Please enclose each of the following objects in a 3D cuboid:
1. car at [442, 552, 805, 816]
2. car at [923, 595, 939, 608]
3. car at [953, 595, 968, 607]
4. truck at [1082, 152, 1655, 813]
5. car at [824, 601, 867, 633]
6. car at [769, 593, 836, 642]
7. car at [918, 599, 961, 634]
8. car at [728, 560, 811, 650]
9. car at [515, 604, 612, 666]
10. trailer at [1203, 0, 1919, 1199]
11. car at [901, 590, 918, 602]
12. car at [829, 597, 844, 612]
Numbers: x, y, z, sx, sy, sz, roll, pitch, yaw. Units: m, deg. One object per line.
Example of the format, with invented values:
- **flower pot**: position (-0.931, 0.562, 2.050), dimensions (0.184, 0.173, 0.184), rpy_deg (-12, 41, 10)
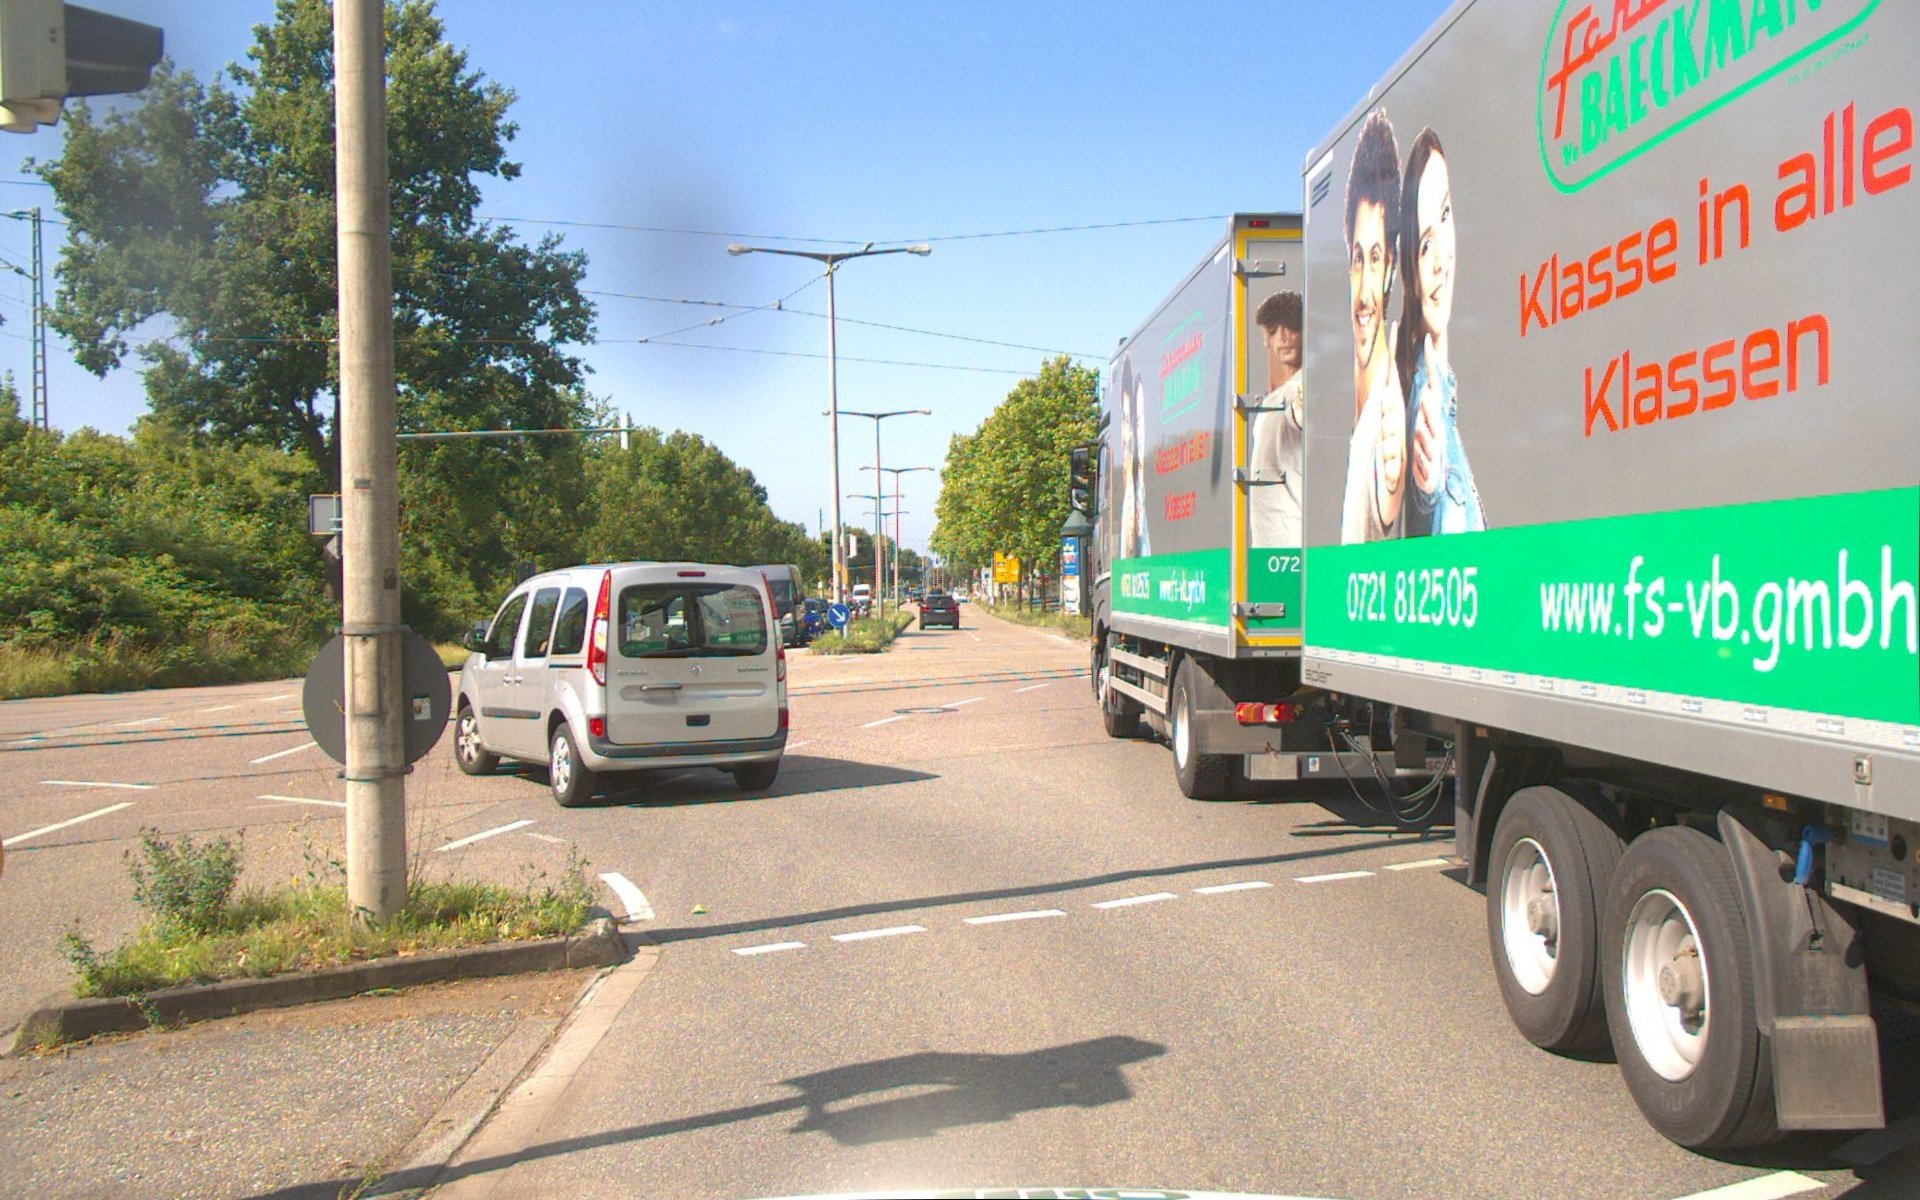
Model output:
- **car**: position (-2.964, 0.606, 13.918), dimensions (1.768, 1.870, 3.957), rpy_deg (1, 0, -31)
- **car**: position (-3.764, 0.172, 216.524), dimensions (1.953, 1.613, 4.456), rpy_deg (0, 0, 0)
- **car**: position (0.038, 0.084, 224.790), dimensions (1.953, 1.613, 4.456), rpy_deg (0, 0, 0)
- **truck**: position (2.796, -0.699, 14.373), dimensions (2.674, 3.957, 8.721), rpy_deg (-1, 0, -1)
- **car**: position (-5.918, 0.874, 86.030), dimensions (1.953, 1.613, 4.000), rpy_deg (0, 0, 0)
- **car**: position (-5.620, 0.636, 59.524), dimensions (1.953, 1.612, 4.000), rpy_deg (-3, 0, 0)
- **car**: position (-0.942, 0.793, 78.950), dimensions (1.953, 1.613, 4.456), rpy_deg (0, 0, 0)
- **car**: position (-5.968, 0.170, 52.319), dimensions (1.953, 2.653, 5.133), rpy_deg (-2, 0, 0)
- **car**: position (-11.381, 0.977, 47.741), dimensions (1.872, 1.670, 3.737), rpy_deg (-2, 0, 0)
- **trailer**: position (2.922, -0.607, 6.130), dimensions (2.681, 3.944, 7.733), rpy_deg (-1, 0, -1)
- **car**: position (-6.601, -0.520, 216.271), dimensions (1.953, 1.613, 4.456), rpy_deg (0, 0, 0)
- **car**: position (-17.724, 0.673, 237.827), dimensions (1.850, 2.049, 3.999), rpy_deg (1, 0, -1)
